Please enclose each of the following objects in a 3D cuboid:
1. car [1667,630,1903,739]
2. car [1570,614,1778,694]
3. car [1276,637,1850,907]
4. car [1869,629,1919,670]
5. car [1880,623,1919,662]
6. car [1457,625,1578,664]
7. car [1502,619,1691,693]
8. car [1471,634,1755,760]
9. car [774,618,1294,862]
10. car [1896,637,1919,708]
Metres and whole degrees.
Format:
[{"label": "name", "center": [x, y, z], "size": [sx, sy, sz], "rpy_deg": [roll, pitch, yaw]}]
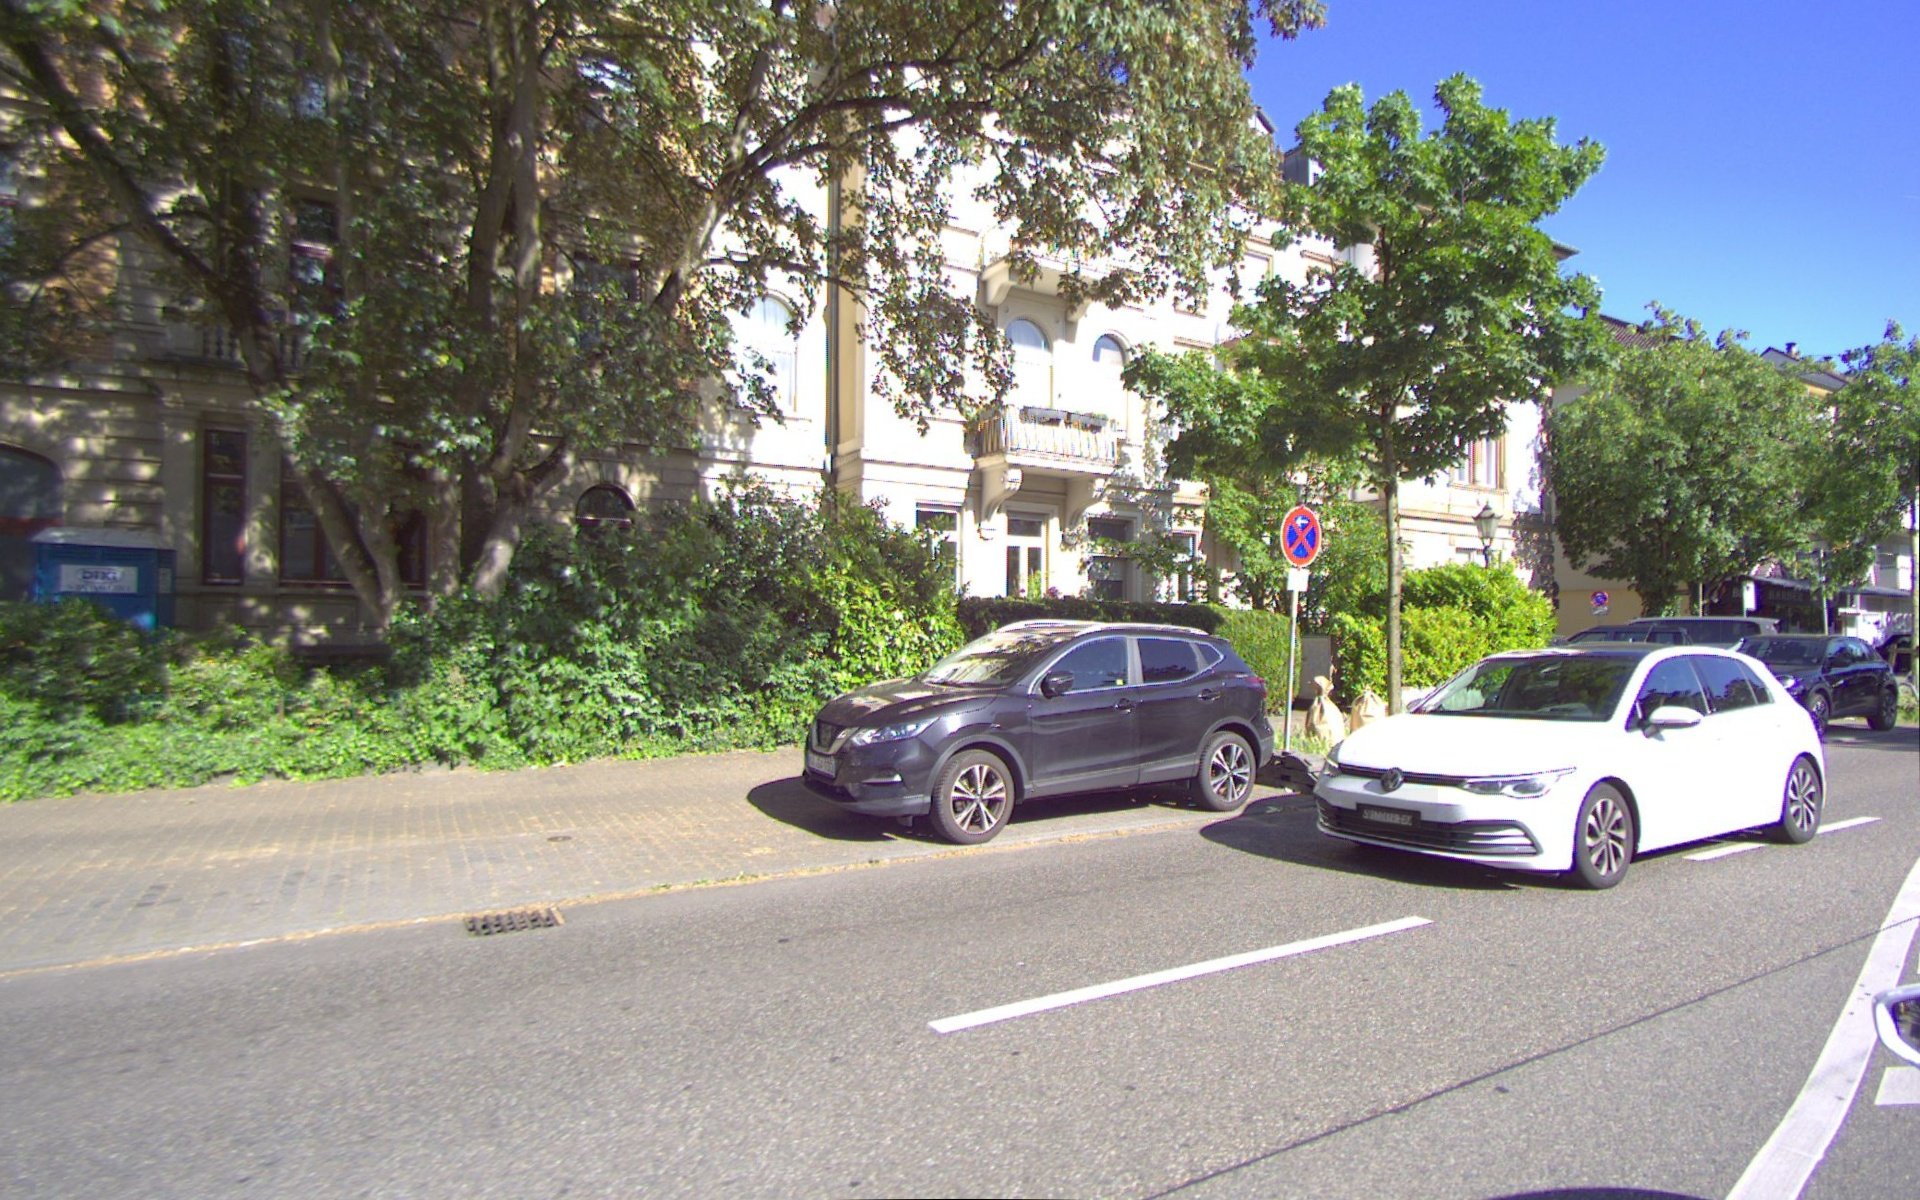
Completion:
[{"label": "car", "center": [13.531, 1.286, 16.442], "size": [3.959, 1.575, 1.670], "rpy_deg": [1, -1, -29]}, {"label": "car", "center": [18.340, 1.325, 25.993], "size": [4.257, 1.904, 1.873], "rpy_deg": [0, -1, 35]}, {"label": "car", "center": [4.400, 1.016, 7.204], "size": [4.143, 1.431, 1.726], "rpy_deg": [1, -4, -30]}, {"label": "car", "center": [36.650, 1.861, 37.368], "size": [1.702, 1.475, 3.992], "rpy_deg": [0, -1, -11]}, {"label": "car", "center": [38.696, 1.677, 39.086], "size": [1.707, 1.480, 3.981], "rpy_deg": [0, -1, -21]}, {"label": "car", "center": [22.286, 1.770, 40.301], "size": [1.627, 1.461, 3.969], "rpy_deg": [0, -2, -30]}, {"label": "car", "center": [15.704, 1.316, 24.876], "size": [3.857, 1.666, 1.674], "rpy_deg": [0, -1, 37]}, {"label": "car", "center": [8.999, 1.221, 13.773], "size": [4.042, 1.435, 1.629], "rpy_deg": [1, 0, -30]}, {"label": "car", "center": [0.742, 0.987, 8.589], "size": [4.298, 1.609, 1.616], "rpy_deg": [1, 0, -31]}, {"label": "car", "center": [21.650, 1.500, 20.978], "size": [4.746, 1.407, 1.825], "rpy_deg": [1, -1, -31]}]
